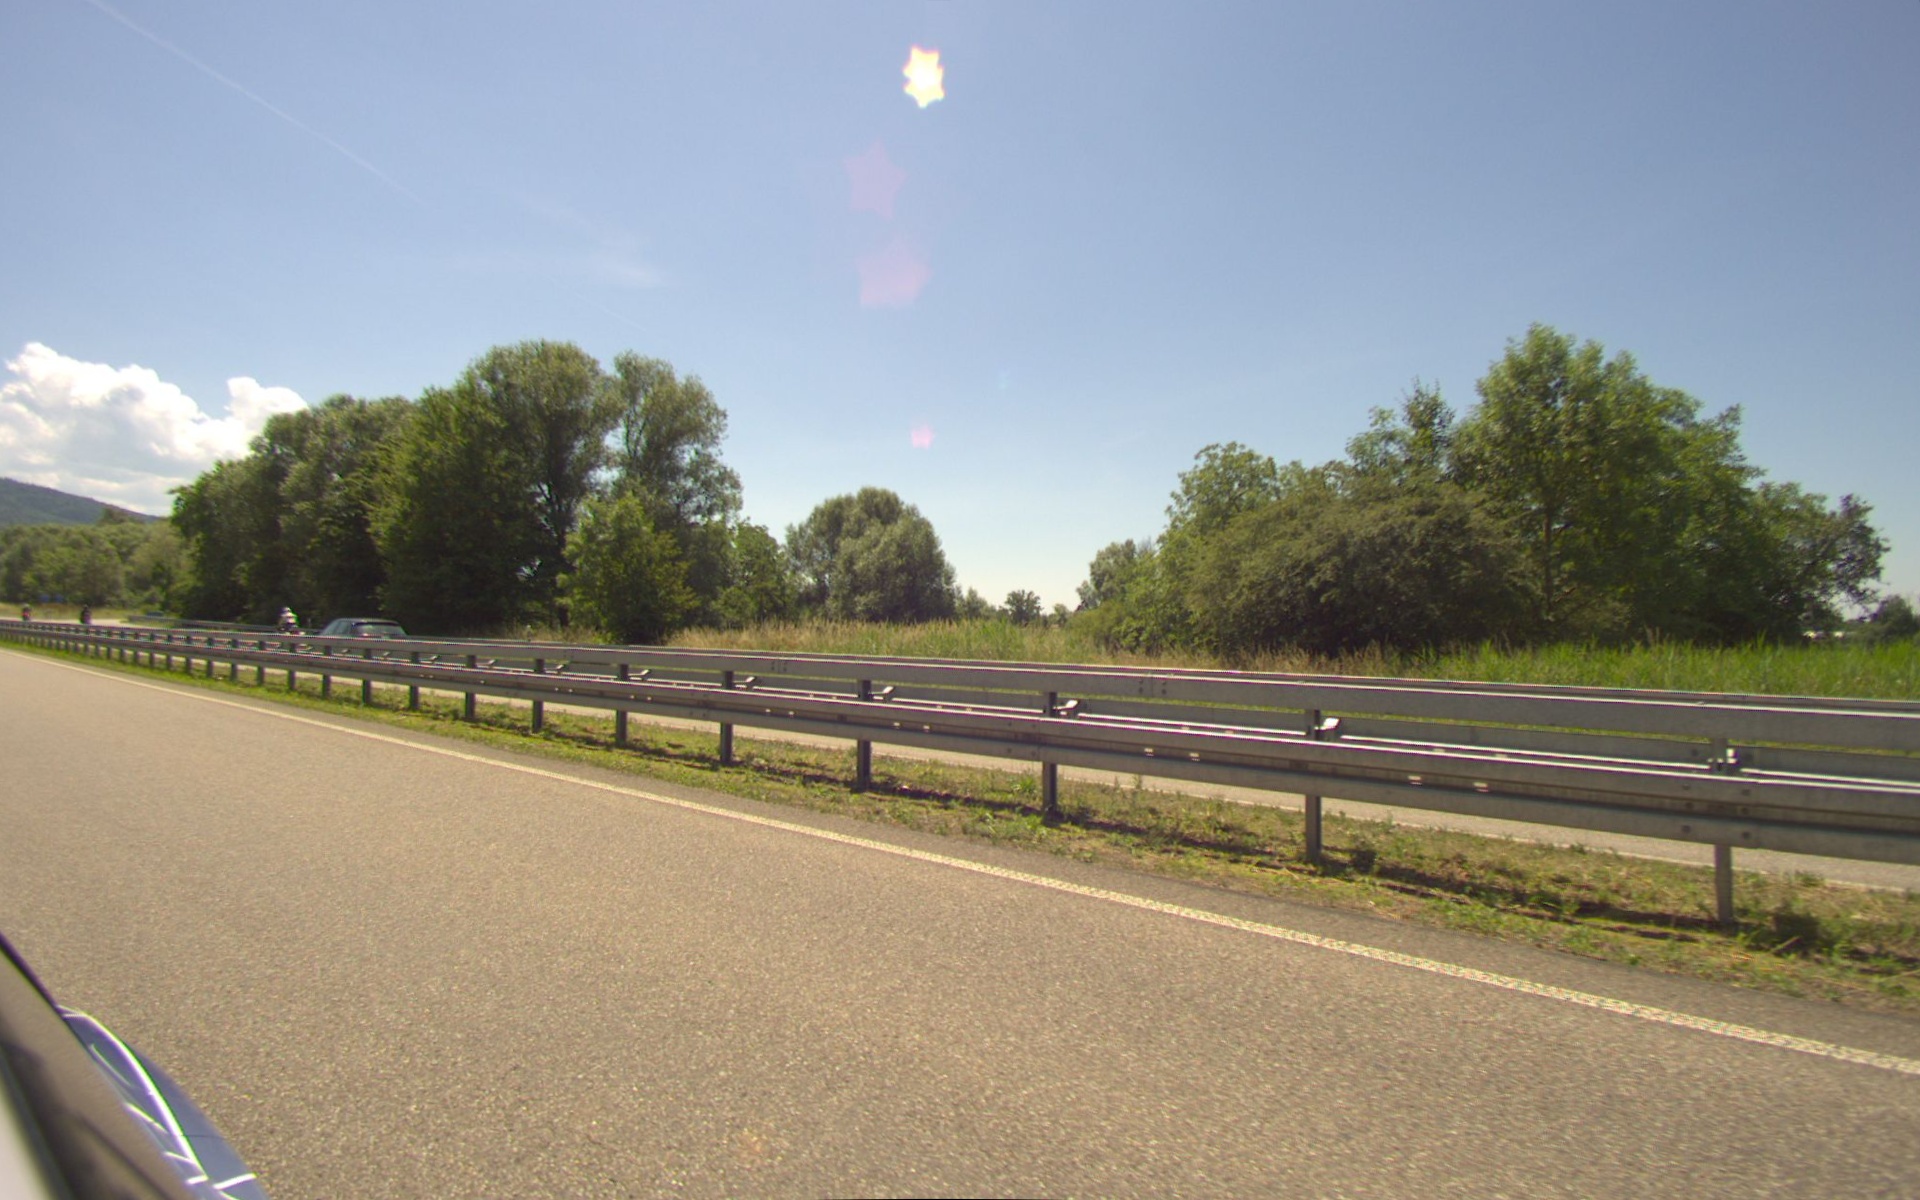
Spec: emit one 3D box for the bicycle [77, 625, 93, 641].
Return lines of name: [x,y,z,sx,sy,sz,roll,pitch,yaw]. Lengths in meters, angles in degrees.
bicycle: [-66.969,2.494,77.465,2.279,1.166,0.607,-1,-1,41]

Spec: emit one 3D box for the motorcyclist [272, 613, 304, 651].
motorcyclist: [-29.333,1.408,44.197,0.809,1.629,0.935,-1,-3,40]

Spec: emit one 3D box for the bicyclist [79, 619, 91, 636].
bicyclist: [-66.969,2.097,77.449,0.607,1.287,0.607,-1,-1,41]

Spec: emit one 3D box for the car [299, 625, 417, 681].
car: [-15.693,1.322,26.325,3.533,1.342,1.611,-1,-1,41]

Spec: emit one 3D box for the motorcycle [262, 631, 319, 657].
motorcycle: [-29.054,1.890,43.887,3.816,1.072,1.052,-1,-3,41]
